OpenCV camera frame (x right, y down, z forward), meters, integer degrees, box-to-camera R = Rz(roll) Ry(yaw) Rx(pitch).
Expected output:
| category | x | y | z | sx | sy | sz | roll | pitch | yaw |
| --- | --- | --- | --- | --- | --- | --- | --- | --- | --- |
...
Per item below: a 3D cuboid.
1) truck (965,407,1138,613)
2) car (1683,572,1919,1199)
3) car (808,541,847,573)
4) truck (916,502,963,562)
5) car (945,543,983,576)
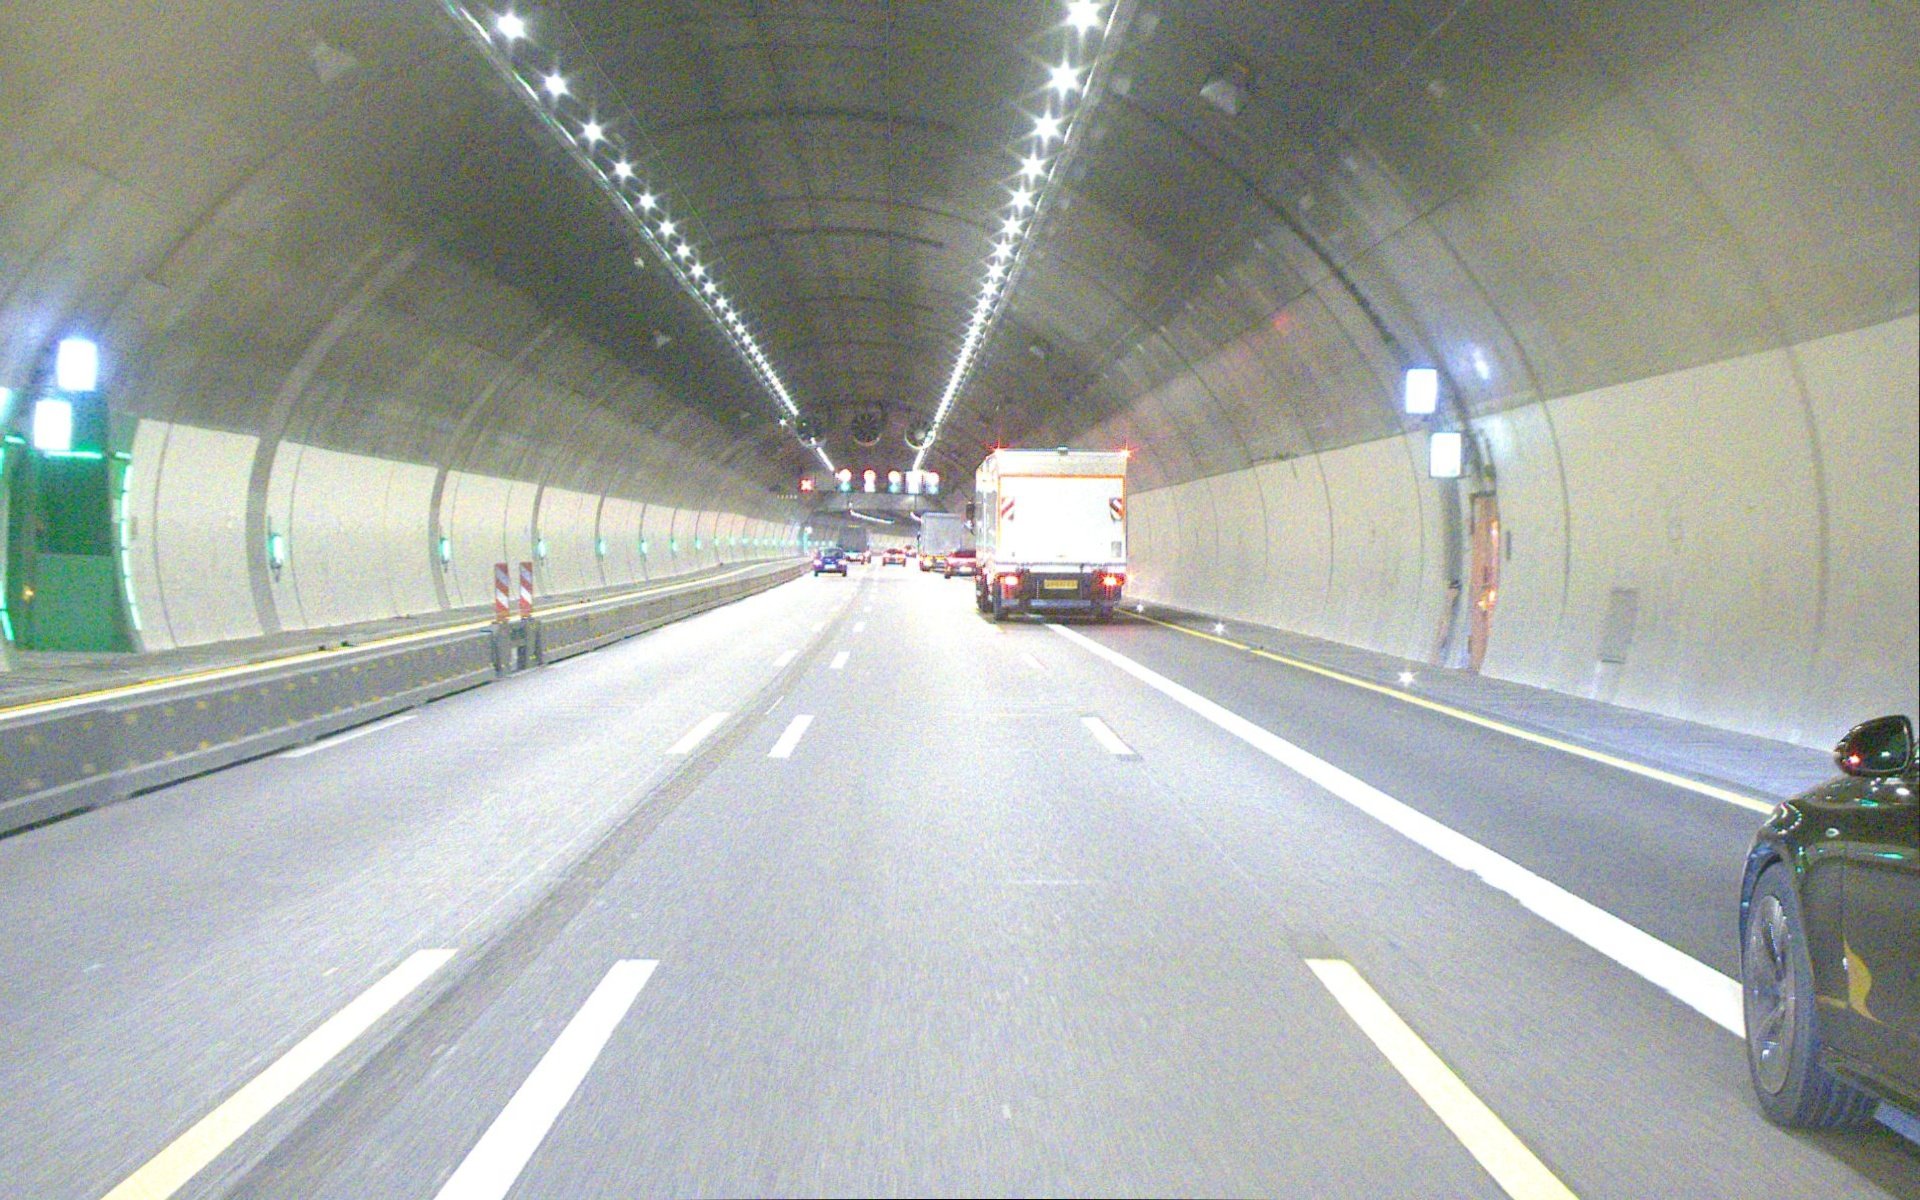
| category | x | y | z | sx | sy | sz | roll | pitch | yaw |
| --- | --- | --- | --- | --- | --- | --- | --- | --- | --- |
| truck | 1.766 | -1.747 | 70.998 | 3.092 | 3.904 | 10.368 | 1 | 0 | -1 |
| car | 3.040 | 0.693 | 7.217 | 1.925 | 1.467 | 4.955 | 0 | 1 | -1 |
| car | -6.320 | -2.057 | 164.339 | 1.758 | 1.456 | 4.119 | 0 | 2 | -1 |
| truck | -1.374 | -4.667 | 238.094 | 3.066 | 3.904 | 10.368 | 1 | 0 | 0 |
| car | 0.195 | -1.889 | 158.825 | 1.739 | 1.456 | 3.960 | 0 | 2 | 0 |
